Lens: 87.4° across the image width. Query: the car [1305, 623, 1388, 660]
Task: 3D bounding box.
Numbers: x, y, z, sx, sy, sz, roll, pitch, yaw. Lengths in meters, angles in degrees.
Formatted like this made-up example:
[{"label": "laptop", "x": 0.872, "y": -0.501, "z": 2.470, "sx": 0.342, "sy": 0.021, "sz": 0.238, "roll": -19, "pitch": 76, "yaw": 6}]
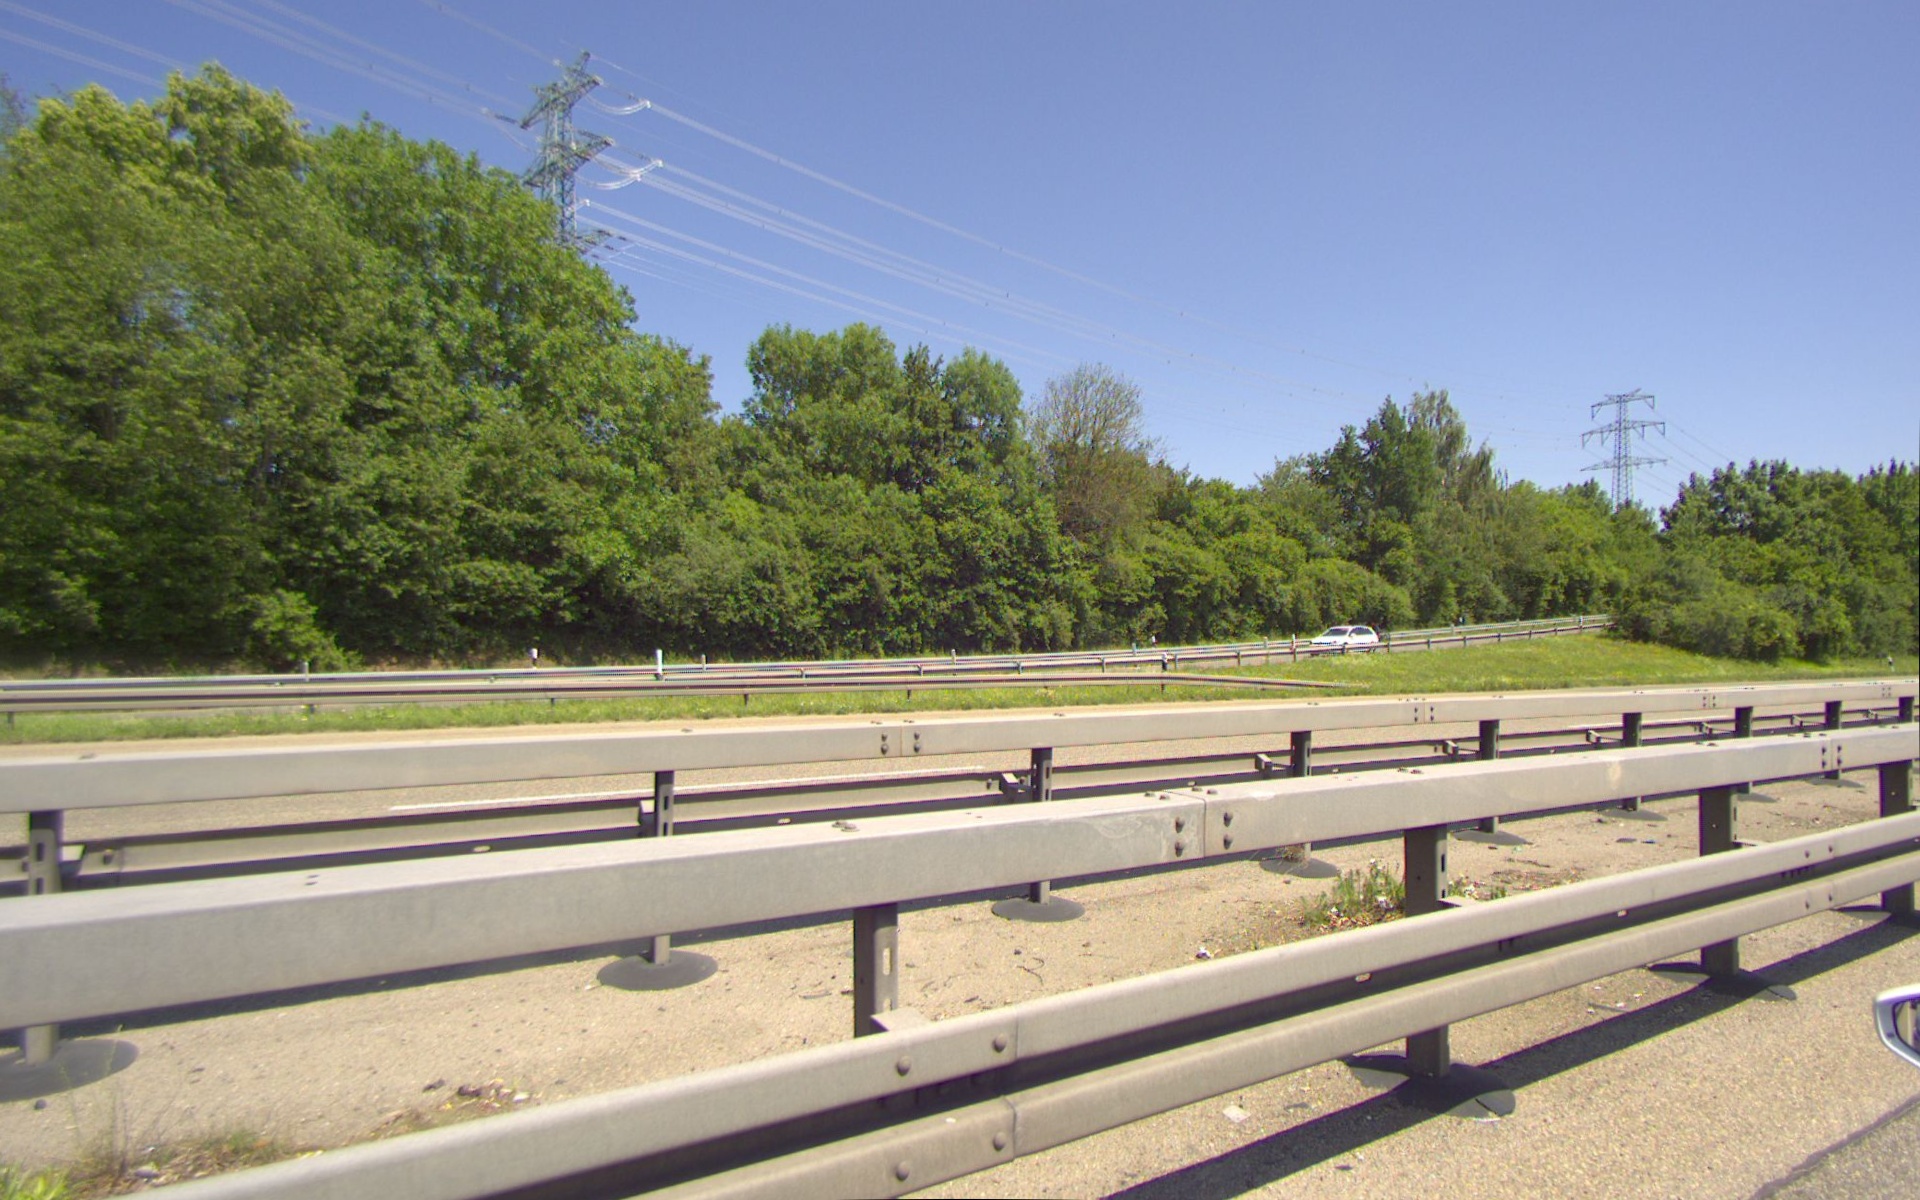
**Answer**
[{"label": "car", "x": 19.245, "y": 2.068, "z": 49.913, "sx": 4.859, "sy": 1.696, "sz": 1.621, "roll": 3, "pitch": -1, "yaw": -39}]
